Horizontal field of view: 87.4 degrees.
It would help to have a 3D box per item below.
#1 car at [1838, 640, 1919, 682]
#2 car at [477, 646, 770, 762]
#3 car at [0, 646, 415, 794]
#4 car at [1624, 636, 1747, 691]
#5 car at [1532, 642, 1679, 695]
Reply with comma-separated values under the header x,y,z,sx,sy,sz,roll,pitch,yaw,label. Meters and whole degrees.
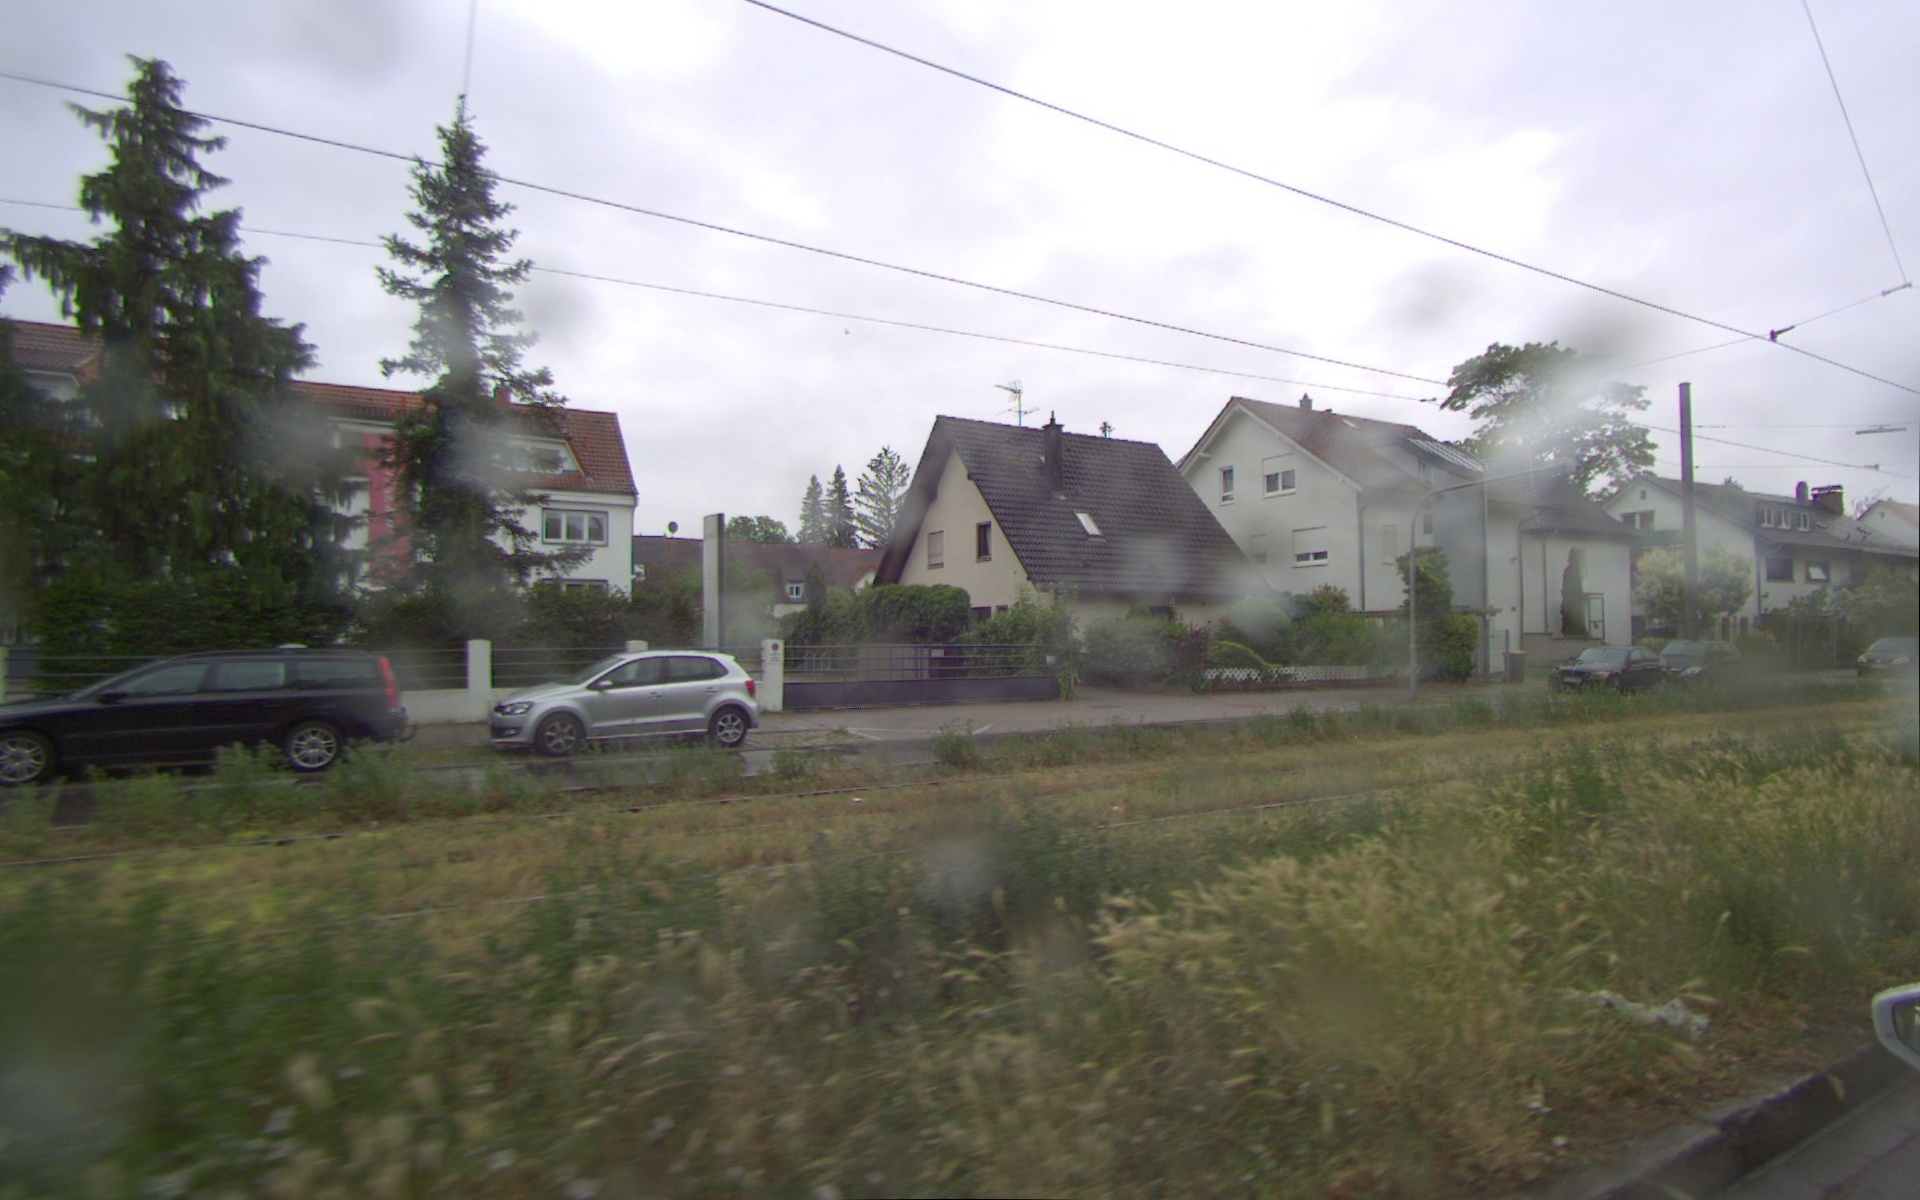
x,y,z,sx,sy,sz,roll,pitch,yaw,label
38.089,2.449,41.110,4.154,1.536,1.985,1,0,-29,car
-5.111,1.480,15.334,3.926,1.430,1.983,1,0,-31,car
-9.364,1.376,12.566,4.476,1.475,1.985,1,0,-29,car
23.231,1.971,32.136,3.825,1.571,1.864,1,0,-31,car
19.258,2.002,29.961,4.189,1.368,1.985,1,0,-29,car
